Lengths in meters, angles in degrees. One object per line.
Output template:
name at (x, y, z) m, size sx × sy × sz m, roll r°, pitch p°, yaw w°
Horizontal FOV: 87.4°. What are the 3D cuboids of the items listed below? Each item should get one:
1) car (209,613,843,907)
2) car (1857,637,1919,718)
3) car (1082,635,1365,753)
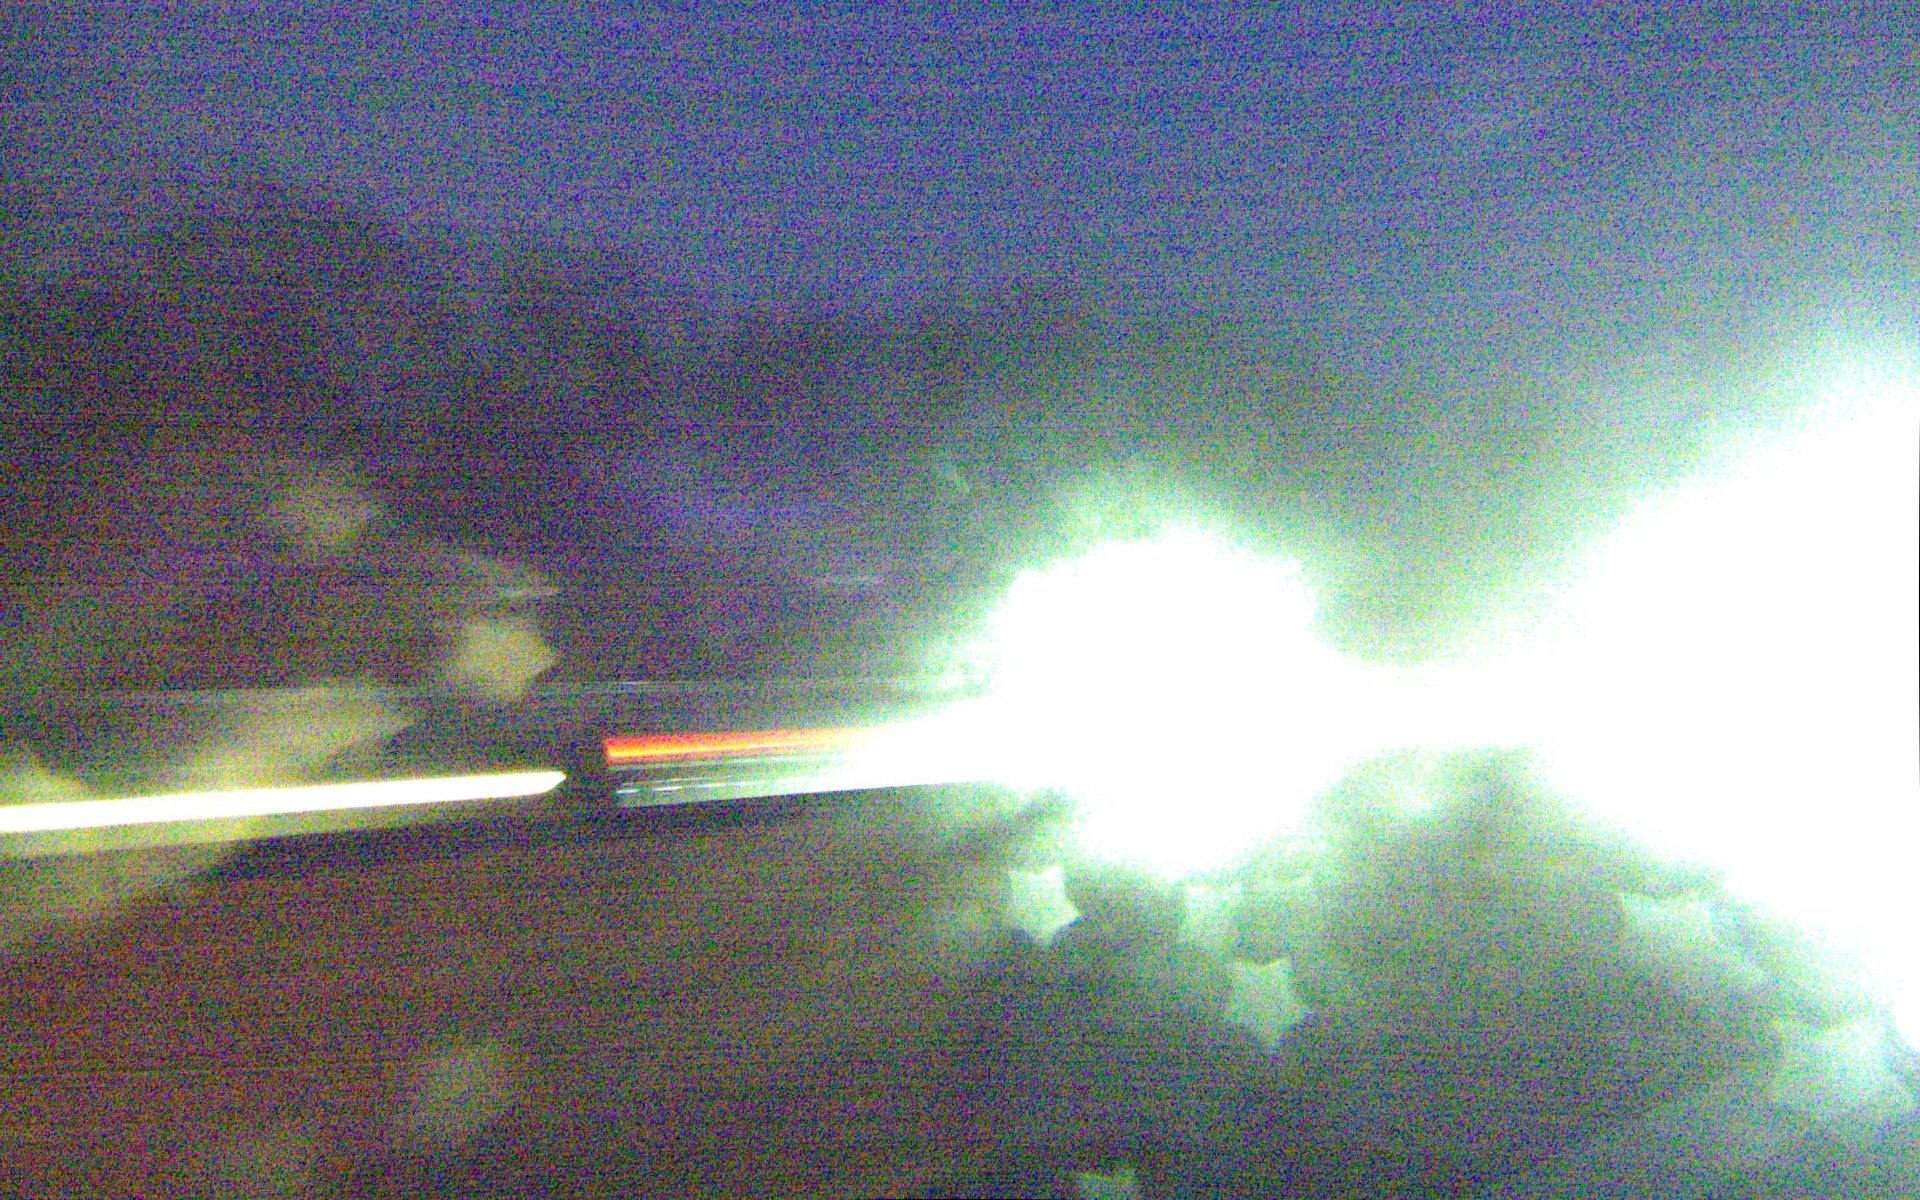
car at (-3.096, 1.035, 7.682) m, size 3.953 × 1.706 × 1.908 m, roll 2°, pitch -3°, yaw -30°
car at (22.117, 1.716, 22.361) m, size 4.453 × 1.706 × 1.908 m, roll 2°, pitch -3°, yaw -30°
car at (4.362, 1.467, 16.449) m, size 4.453 × 1.706 × 1.908 m, roll 2°, pitch -3°, yaw -30°
